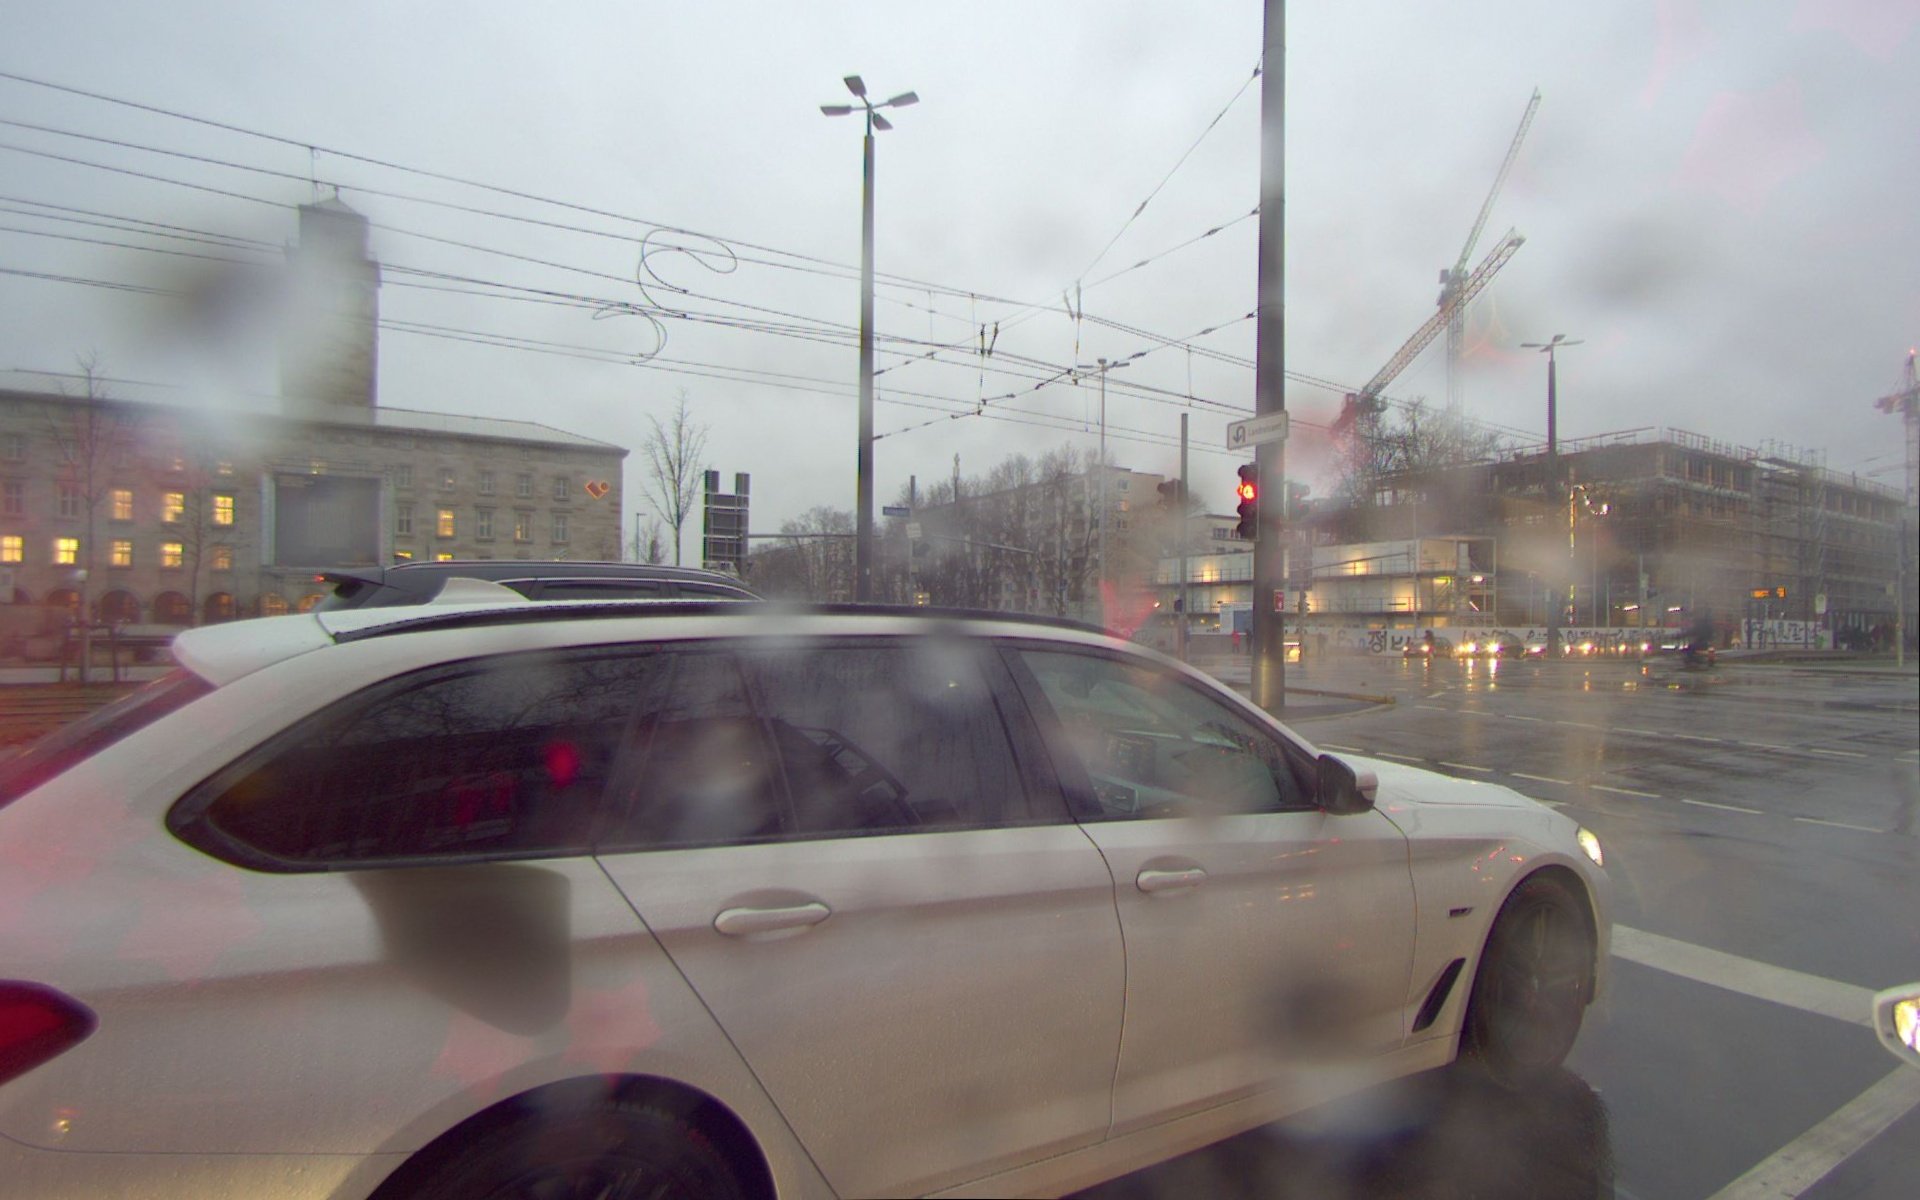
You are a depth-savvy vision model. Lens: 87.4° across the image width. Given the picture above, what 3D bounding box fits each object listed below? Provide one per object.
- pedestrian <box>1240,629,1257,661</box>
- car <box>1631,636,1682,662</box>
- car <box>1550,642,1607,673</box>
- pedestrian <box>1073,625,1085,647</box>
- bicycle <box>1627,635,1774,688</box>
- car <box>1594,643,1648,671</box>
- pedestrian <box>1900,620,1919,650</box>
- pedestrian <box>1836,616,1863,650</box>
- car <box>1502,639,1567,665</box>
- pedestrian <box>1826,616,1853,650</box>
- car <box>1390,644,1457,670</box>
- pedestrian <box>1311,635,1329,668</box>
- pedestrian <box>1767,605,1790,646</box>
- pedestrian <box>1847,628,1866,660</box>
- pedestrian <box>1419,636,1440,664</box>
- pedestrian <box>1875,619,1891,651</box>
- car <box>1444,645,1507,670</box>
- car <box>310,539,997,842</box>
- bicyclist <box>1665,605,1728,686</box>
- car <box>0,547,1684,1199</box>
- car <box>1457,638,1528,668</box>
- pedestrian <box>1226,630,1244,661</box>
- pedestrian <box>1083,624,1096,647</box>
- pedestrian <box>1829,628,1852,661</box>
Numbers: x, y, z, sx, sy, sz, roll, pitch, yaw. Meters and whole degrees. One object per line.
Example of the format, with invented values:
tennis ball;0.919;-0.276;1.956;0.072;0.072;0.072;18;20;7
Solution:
pedestrian;19.108;2.993;66.543;0.737;2.040;0.783;2;0;-25
car;51.272;3.606;73.931;3.964;1.814;1.978;2;0;-38
car;41.001;3.785;66.580;3.963;1.852;1.852;2;0;-37
pedestrian;9.992;3.016;84.557;0.714;1.800;0.789;1;-1;-23
bicycle;17.939;1.473;24.441;2.816;1.114;0.743;2;0;33
car;46.658;3.994;70.925;3.964;1.814;1.978;2;0;-38
pedestrian;66.196;2.424;69.880;1.082;2.040;0.937;2;0;-32
pedestrian;55.564;2.067;62.745;1.082;2.040;0.937;2;0;-32
car;35.903;3.250;62.719;4.577;1.550;2.059;2;-2;-40
pedestrian;54.132;2.019;61.811;1.082;2.040;0.937;2;0;-32
car;29.394;3.589;63.719;3.953;1.550;1.984;2;-2;-30
pedestrian;24.751;3.526;69.033;0.758;2.194;0.867;2;0;-38
pedestrian;47.166;1.467;57.895;0.754;2.354;0.761;3;-1;-30
pedestrian;54.454;2.649;61.034;0.547;1.906;0.695;2;0;-30
pedestrian;24.819;2.623;53.092;0.710;1.407;0.730;2;0;1
pedestrian;57.966;2.197;63.082;0.659;1.994;0.566;2;1;-36
car;34.618;3.852;67.492;3.953;1.550;1.984;2;-2;-30
car;-2.049;0.555;7.238;4.238;1.605;1.958;2;-1;-29
bicyclist;17.915;1.080;24.465;1.140;1.896;0.743;2;0;33
car;0.019;0.755;3.098;4.508;1.506;2.007;2;-2;-31
car;31.348;3.120;59.121;3.953;1.679;1.984;2;-2;-30
pedestrian;18.262;3.022;66.720;0.620;2.040;0.856;2;0;-37
pedestrian;10.970;3.020;85.026;0.709;1.927;0.787;1;-1;-31
pedestrian;52.104;2.639;59.438;0.754;1.922;0.761;3;-1;-30
